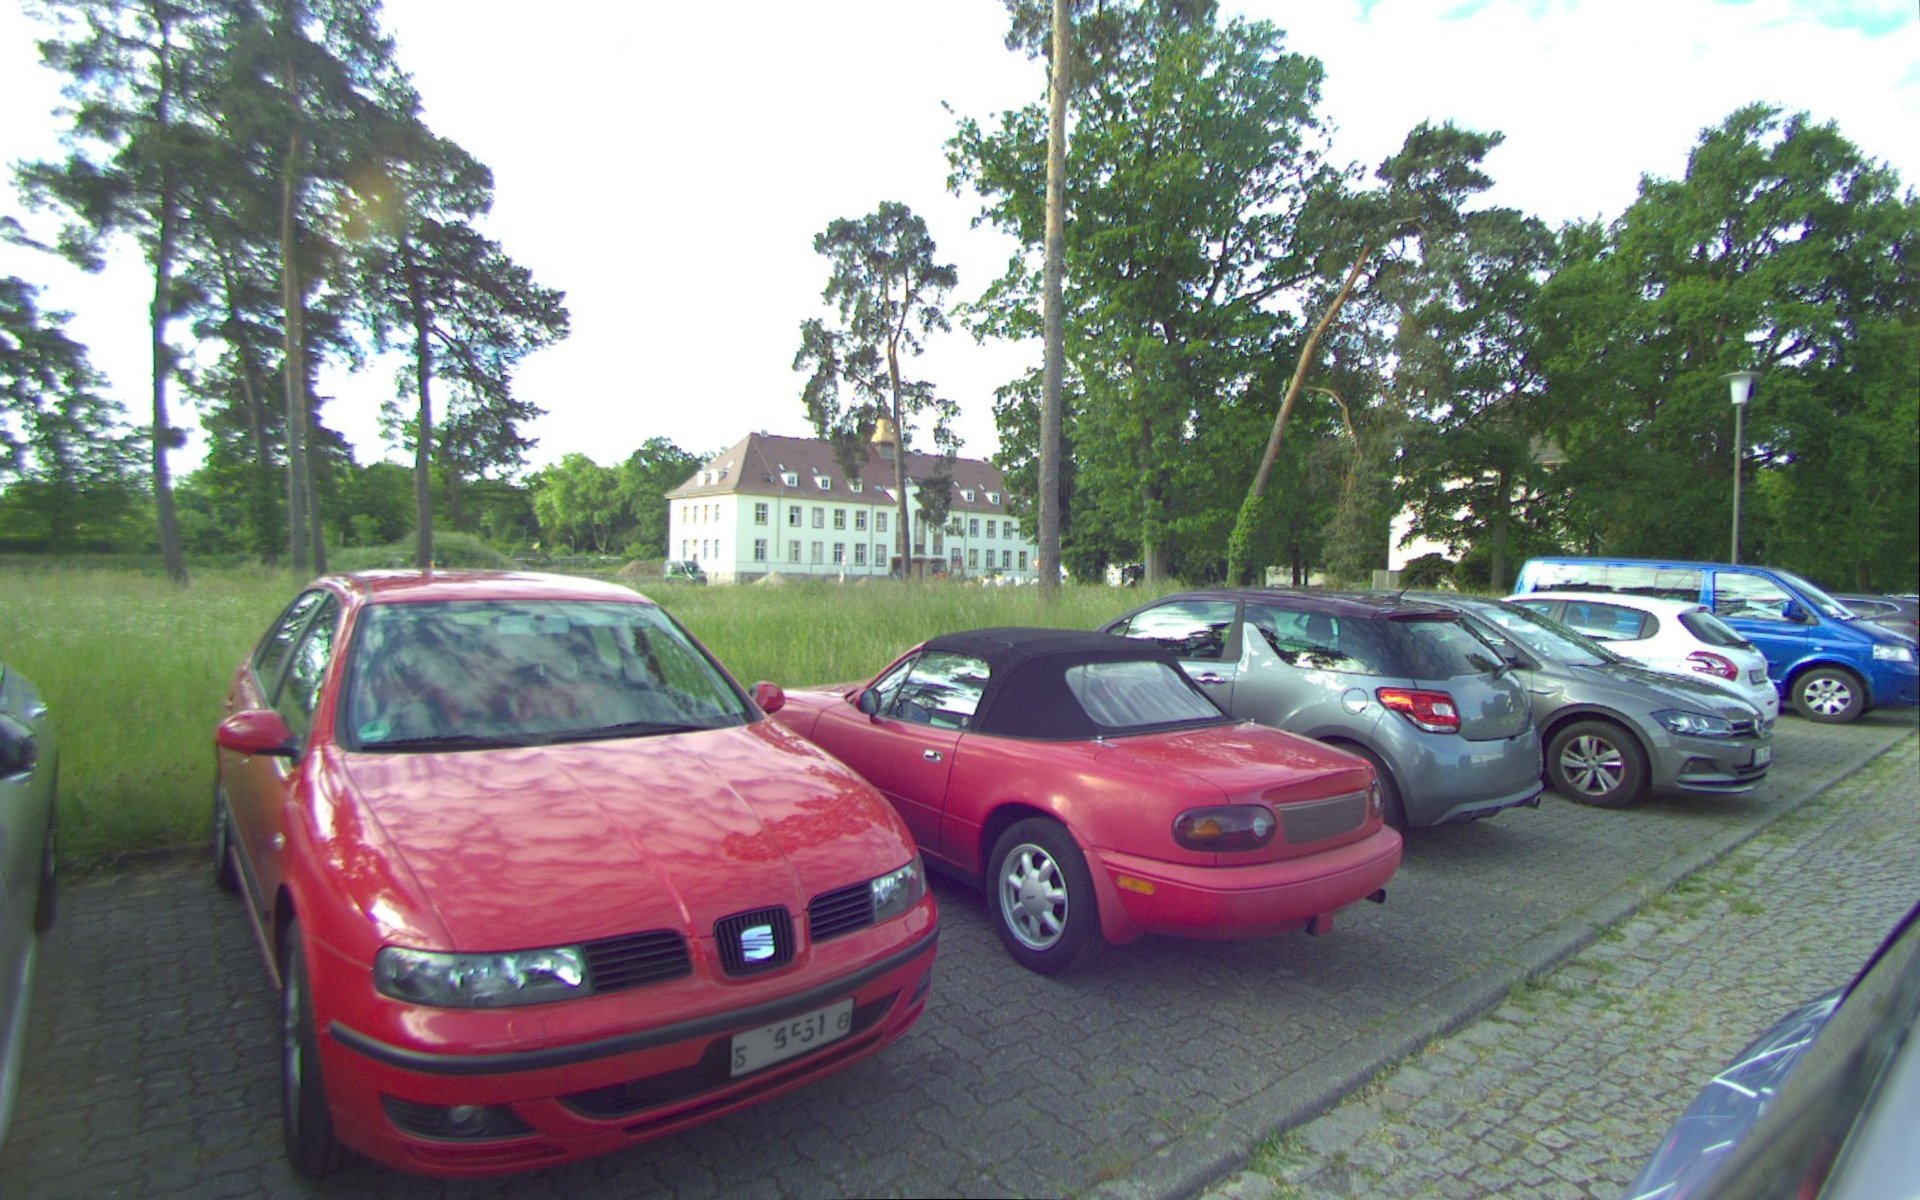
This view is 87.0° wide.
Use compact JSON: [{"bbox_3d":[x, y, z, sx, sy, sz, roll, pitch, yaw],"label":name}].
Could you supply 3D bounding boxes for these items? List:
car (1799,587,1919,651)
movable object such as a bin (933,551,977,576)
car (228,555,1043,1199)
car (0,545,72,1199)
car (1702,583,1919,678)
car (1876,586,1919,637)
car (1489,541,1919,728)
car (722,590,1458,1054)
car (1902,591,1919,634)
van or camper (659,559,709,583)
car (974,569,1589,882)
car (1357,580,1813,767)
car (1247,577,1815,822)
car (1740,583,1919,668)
[{"bbox_3d":[24.491,0.504,26.412,1.555,1.544,3.832,0,2,-43],"label":"car"},{"bbox_3d":[-0.530,-4.238,116.954,1.995,2.802,5.120,3,2,45],"label":"movable object such as a bin"},{"bbox_3d":[-1.715,0.569,3.997,1.689,1.440,4.118,0,2,-39],"label":"car"},{"bbox_3d":[-3.150,0.601,2.235,1.736,1.446,4.334,0,3,-41],"label":"car"},{"bbox_3d":[16.916,0.534,19.617,1.555,1.621,3.832,0,2,-43],"label":"car"},{"bbox_3d":[32.463,0.431,32.795,1.551,1.638,3.841,0,2,-35],"label":"car"},{"bbox_3d":[10.447,0.295,14.119,2.023,2.047,4.956,0,4,-39],"label":"car"},{"bbox_3d":[0.303,0.671,5.020,1.579,1.302,3.557,-1,3,-38],"label":"car"},{"bbox_3d":[36.098,0.518,35.756,1.642,1.548,3.841,0,2,-35],"label":"car"},{"bbox_3d":[-27.433,-2.861,100.520,6.064,2.250,1.969,3,2,44],"label":"van or camper"},{"bbox_3d":[1.953,0.585,7.079,1.576,1.522,3.836,0,2,-40],"label":"car"},{"bbox_3d":[6.353,0.600,10.653,1.552,1.517,3.763,0,2,-38],"label":"car"},{"bbox_3d":[4.488,0.603,8.452,1.613,1.483,3.782,0,2,-38],"label":"car"},{"bbox_3d":[19.045,0.508,21.547,1.555,1.621,3.628,0,2,-43],"label":"car"}]
